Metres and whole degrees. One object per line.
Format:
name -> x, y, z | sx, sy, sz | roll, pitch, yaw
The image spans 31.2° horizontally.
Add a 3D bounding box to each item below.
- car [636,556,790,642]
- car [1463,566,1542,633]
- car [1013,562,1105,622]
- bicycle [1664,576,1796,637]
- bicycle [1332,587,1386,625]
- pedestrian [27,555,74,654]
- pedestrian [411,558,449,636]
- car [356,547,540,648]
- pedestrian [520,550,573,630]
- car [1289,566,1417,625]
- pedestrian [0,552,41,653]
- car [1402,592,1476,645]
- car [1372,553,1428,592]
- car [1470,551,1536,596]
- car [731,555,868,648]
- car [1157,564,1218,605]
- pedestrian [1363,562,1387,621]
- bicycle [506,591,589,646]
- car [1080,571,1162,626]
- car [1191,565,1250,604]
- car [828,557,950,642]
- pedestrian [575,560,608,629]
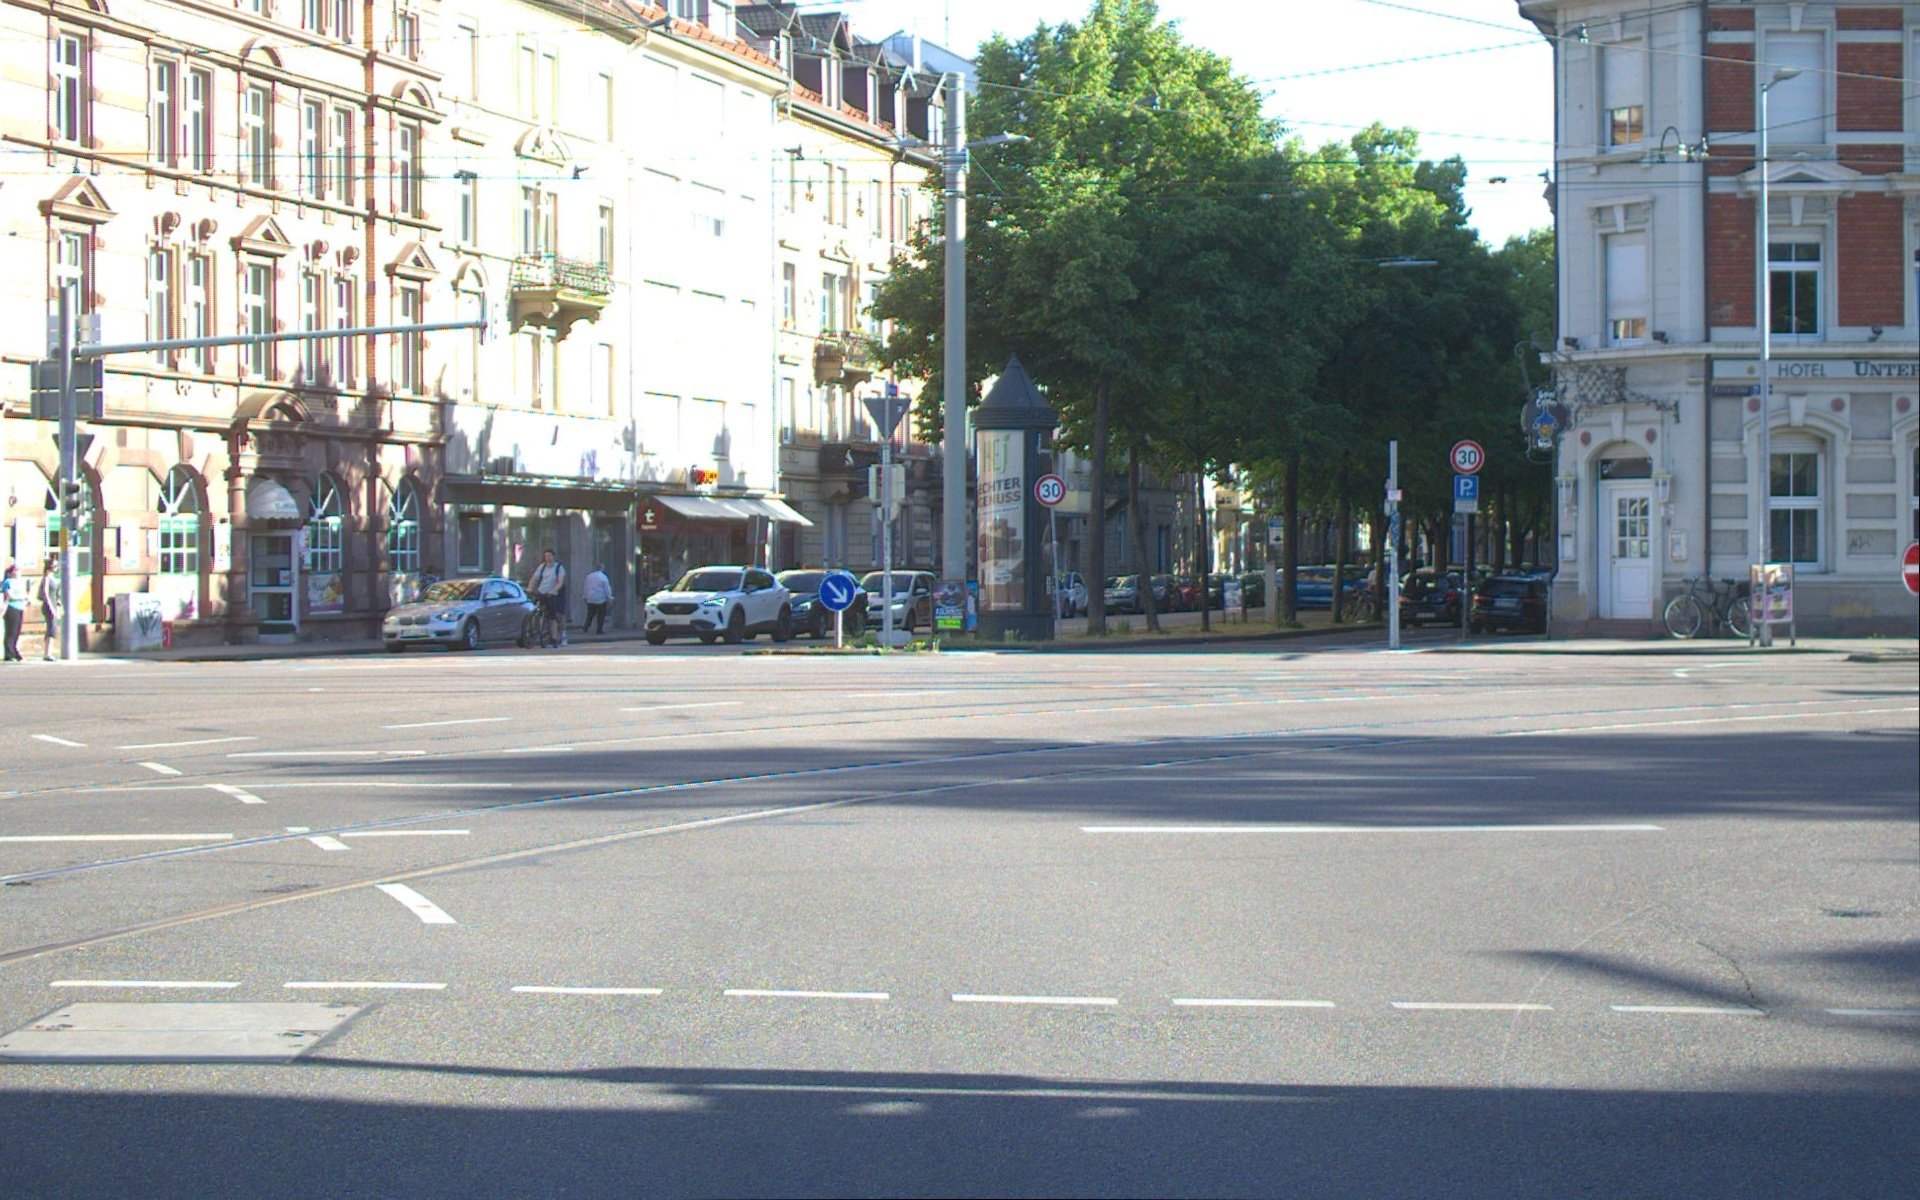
car -> -4.795, -0.035, 67.279 | 1.994, 1.612, 3.998 | 1, 1, 11
car -> 13.059, -0.031, 82.604 | 1.692, 1.559, 3.839 | 1, 1, 11
car -> 3.271, -0.277, 112.715 | 1.995, 1.897, 3.997 | 1, 1, 17
bicycle -> 12.780, 0.106, 57.088 | 2.049, 0.994, 0.630 | 0, 0, 3
bicycle -> 11.496, 0.168, 99.083 | 0.626, 1.081, 1.703 | 1, 1, -31
pedestrian -> -15.146, 0.070, 57.260 | 0.633, 1.628, 0.701 | 1, 0, -4
pedestrian -> -11.176, -0.067, 72.476 | 0.544, 1.626, 0.706 | 1, 0, 13
car -> -9.945, -0.063, 67.090 | 1.995, 1.897, 3.997 | 1, 1, 17
pedestrian -> -7.837, -0.189, 65.219 | 0.821, 1.507, 0.598 | 1, 0, 15
car -> 13.152, -0.164, 114.986 | 3.990, 1.897, 1.998 | 1, 0, 16
pedestrian -> -15.339, 0.039, 55.916 | 0.633, 1.628, 0.701 | 1, 0, -4
car -> 12.876, 0.482, 92.312 | 1.754, 1.357, 3.854 | 1, 1, 11
car -> 17.262, -1.068, 134.692 | 1.560, 1.508, 3.653 | 1, 1, 17
car -> 19.013, -0.936, 120.215 | 1.773, 1.525, 3.997 | 1, 1, 16
car -> -3.412, 0.019, 73.645 | 1.994, 1.897, 3.998 | 1, 1, 11
car -> 8.752, -0.595, 132.059 | 1.560, 1.508, 3.653 | 1, 1, 17
pedestrian -> 12.524, -0.263, 103.814 | 0.640, 1.790, 0.490 | 1, 0, 12
bicycle -> -7.823, 0.338, 65.299 | 0.763, 1.004, 2.395 | 1, 1, 13
car -> 5.750, -0.064, 122.560 | 1.995, 1.897, 3.997 | 1, 1, 17
car -> 10.314, -0.627, 136.116 | 1.560, 1.508, 3.653 | 1, 1, 17
car -> -1.622, -0.018, 79.865 | 1.994, 1.897, 3.998 | 1, 1, 11
pedestrian -> -8.686, -0.129, 80.973 | 0.544, 1.626, 0.706 | 1, 0, 13
